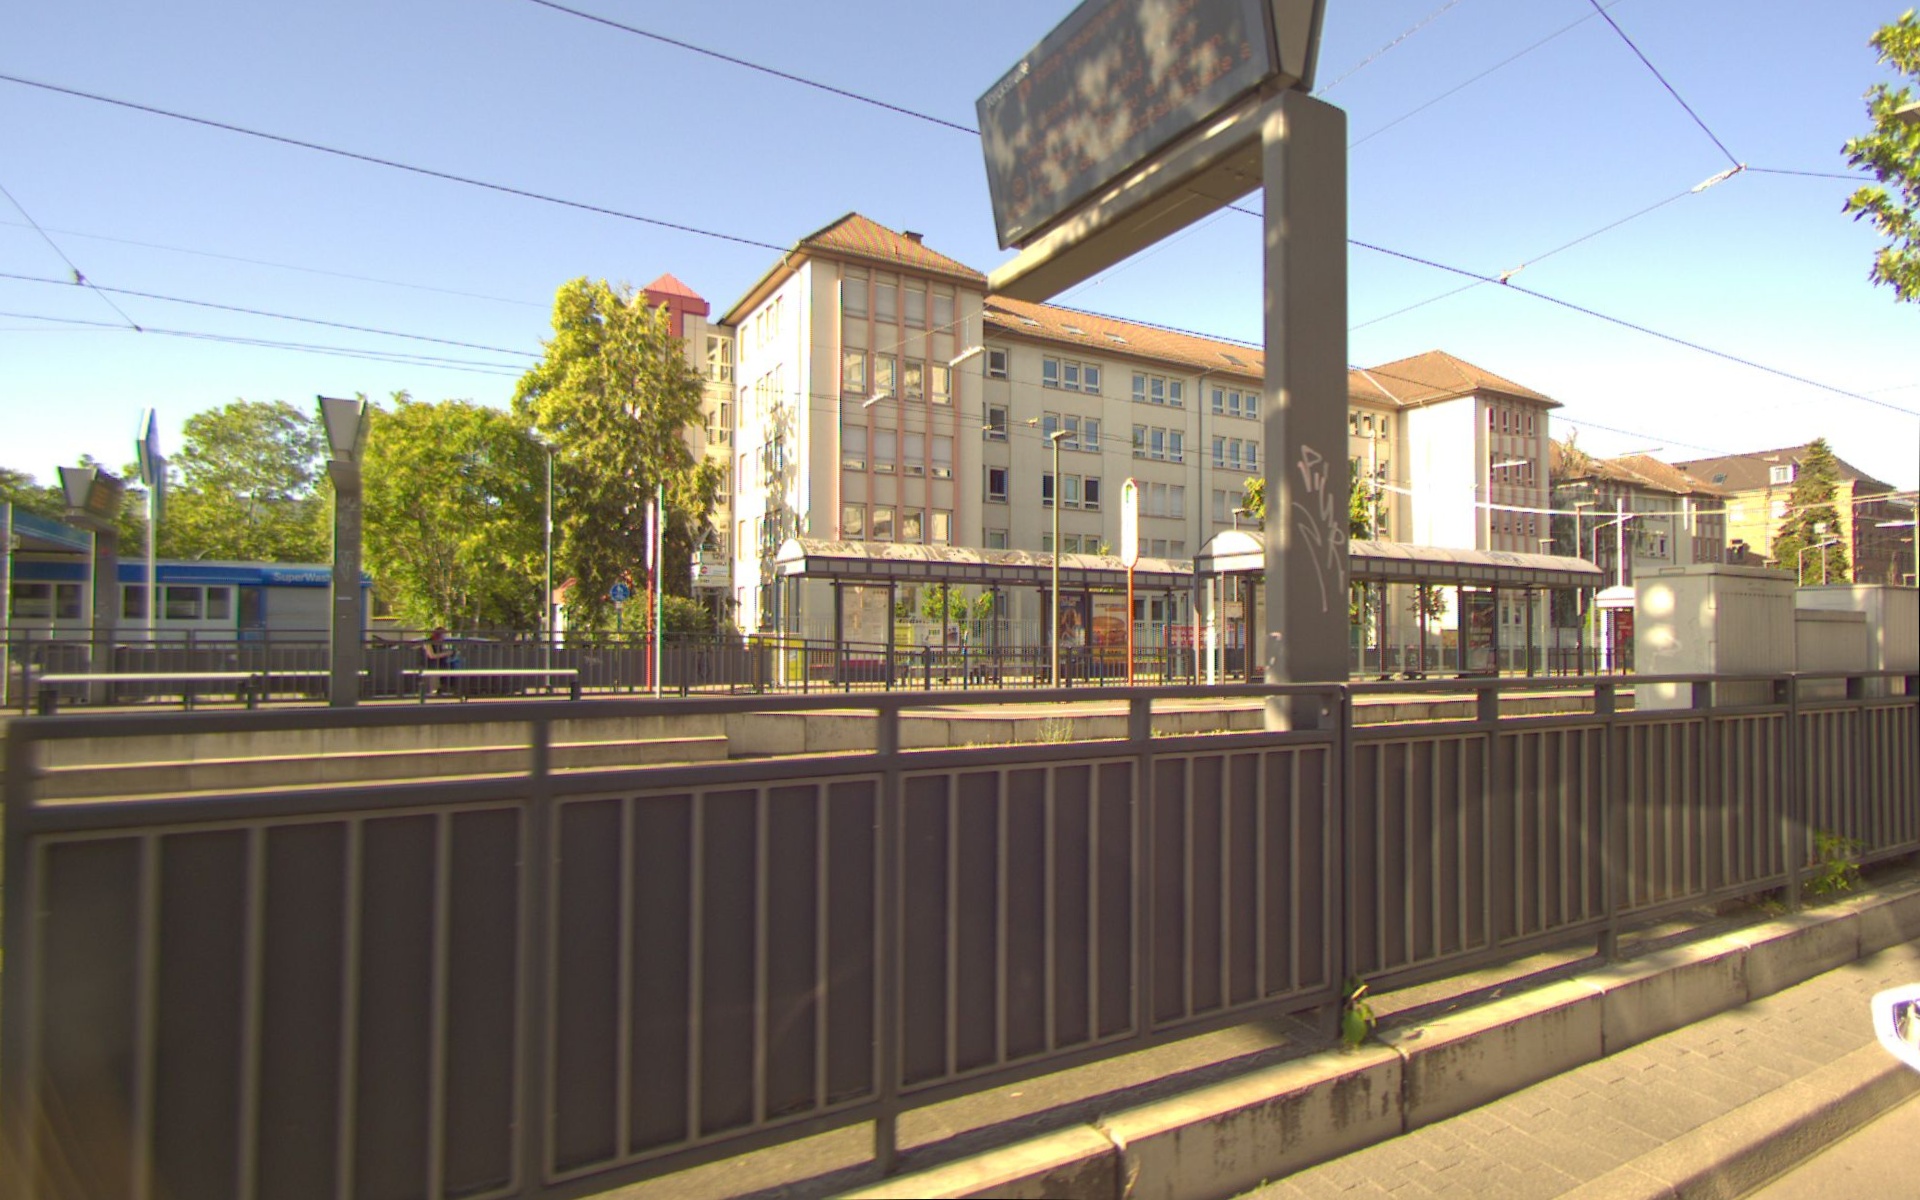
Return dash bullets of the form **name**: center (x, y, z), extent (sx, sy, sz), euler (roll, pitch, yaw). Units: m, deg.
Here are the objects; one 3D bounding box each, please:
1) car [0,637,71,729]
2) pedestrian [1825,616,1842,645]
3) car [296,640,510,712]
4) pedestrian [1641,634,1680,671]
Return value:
- **car**: center (-16.944, 1.304, 15.899), extent (3.951, 1.439, 1.790), euler (1, -2, -29)
- **pedestrian**: center (56.771, 1.961, 65.295), extent (0.566, 1.861, 0.689), euler (1, -2, -30)
- **car**: center (-12.161, 1.618, 22.161), extent (3.951, 1.439, 1.790), euler (1, -2, -29)
- **pedestrian**: center (27.069, 2.001, 38.821), extent (0.869, 1.394, 0.970), euler (1, -1, -30)
